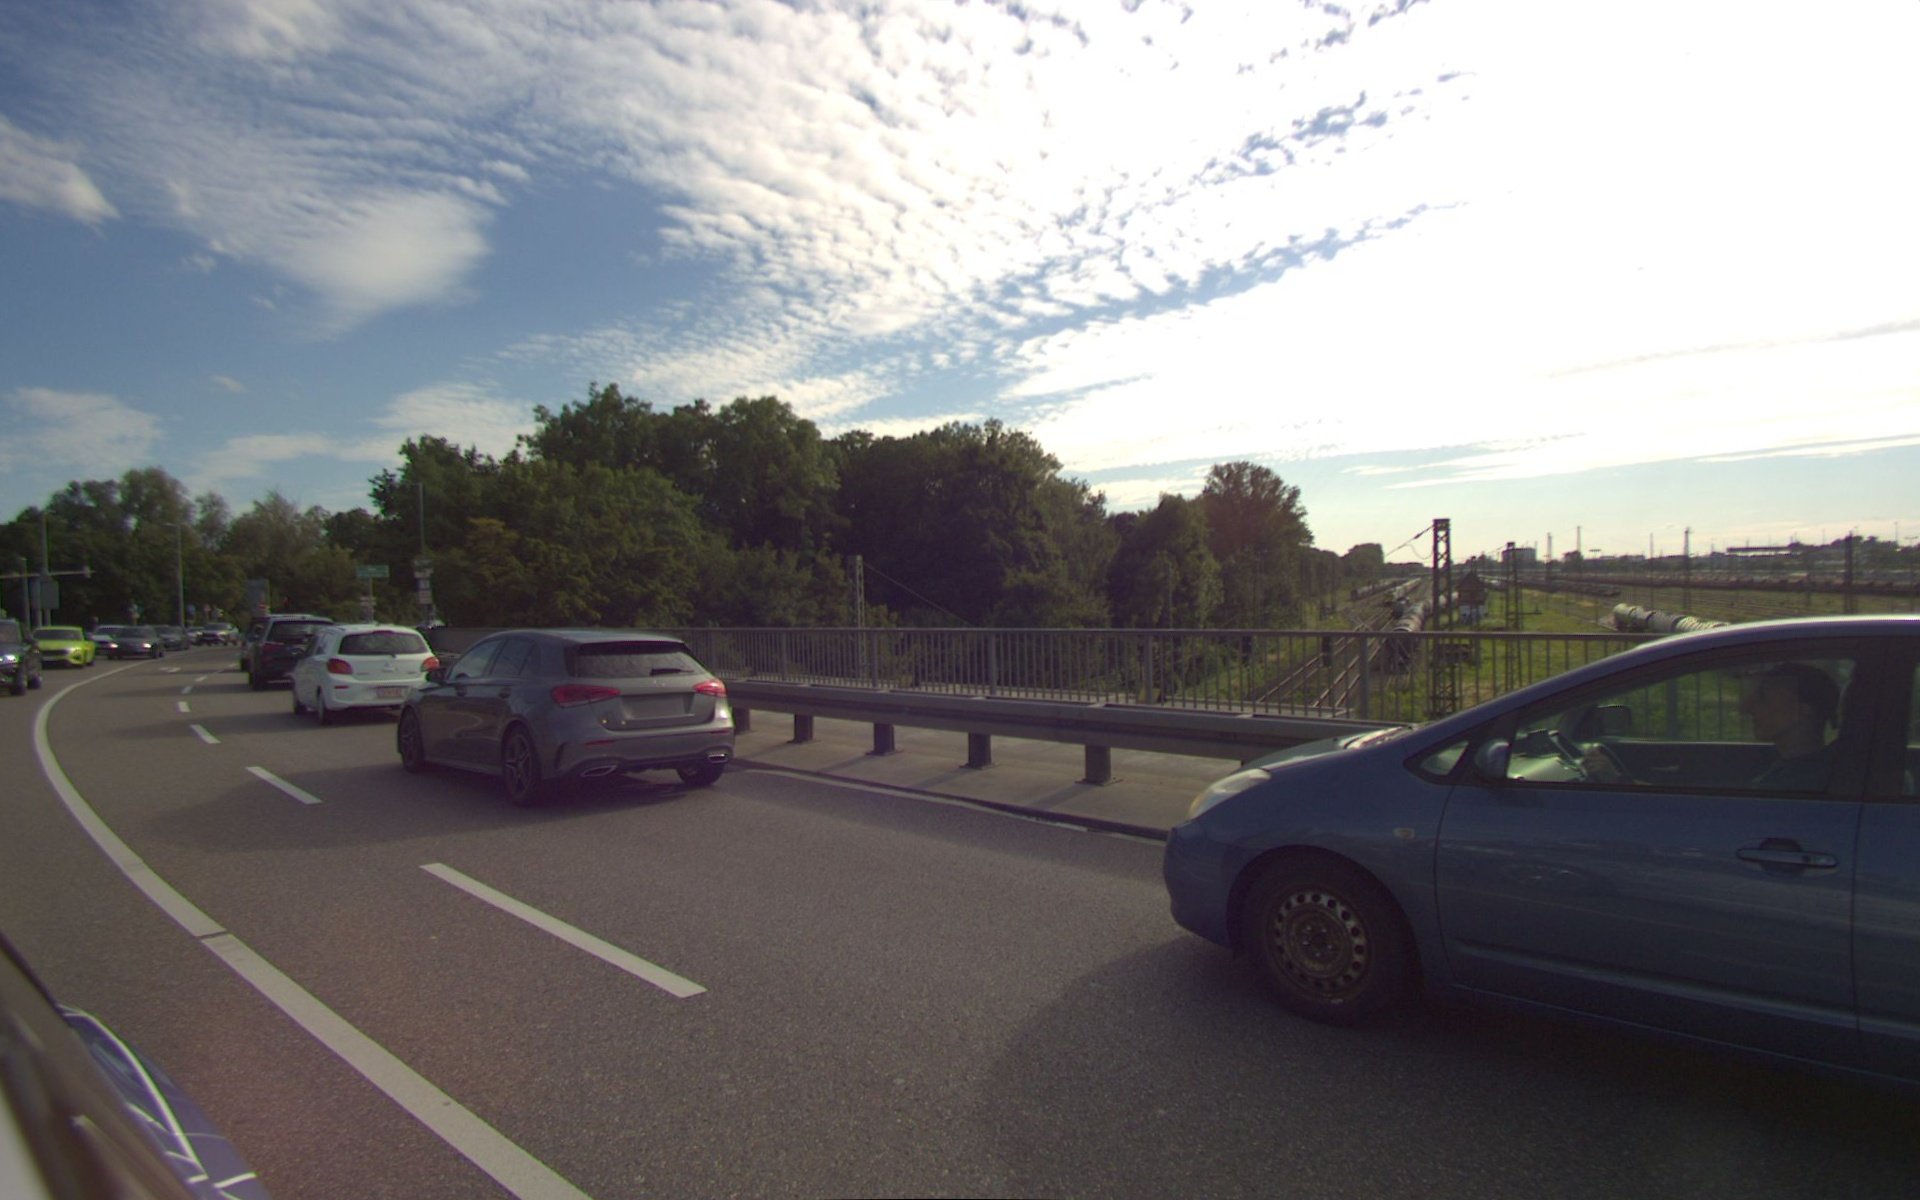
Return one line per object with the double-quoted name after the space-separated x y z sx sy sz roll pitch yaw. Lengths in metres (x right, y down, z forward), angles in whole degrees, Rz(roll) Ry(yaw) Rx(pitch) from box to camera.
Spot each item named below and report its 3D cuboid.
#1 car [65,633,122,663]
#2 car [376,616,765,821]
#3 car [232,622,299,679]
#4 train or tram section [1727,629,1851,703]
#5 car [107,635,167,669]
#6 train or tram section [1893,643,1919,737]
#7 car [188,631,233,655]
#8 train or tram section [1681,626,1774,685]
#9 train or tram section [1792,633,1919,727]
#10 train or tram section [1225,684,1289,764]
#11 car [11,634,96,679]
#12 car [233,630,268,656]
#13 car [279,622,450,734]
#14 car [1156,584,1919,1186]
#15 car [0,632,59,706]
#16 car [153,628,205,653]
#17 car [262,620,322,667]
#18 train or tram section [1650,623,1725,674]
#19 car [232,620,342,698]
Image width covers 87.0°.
-42.537 2.325 49.730 1.664 1.333 3.794 0 -1 -34 "car"
-3.807 0.916 9.453 4.327 1.468 1.792 -2 -2 45 "car"
-23.115 1.642 33.687 1.750 1.759 3.847 0 -2 -35 "car"
62.528 4.714 76.932 3.079 4.748 16.608 -1 -1 25 "train or tram section"
-36.104 2.251 44.464 1.663 1.333 3.795 0 -1 -33 "car"
48.718 4.618 46.820 3.079 4.748 16.608 -1 -1 25 "train or tram section"
-54.084 3.071 73.099 1.965 1.612 4.295 0 -1 -27 "car"
69.455 4.817 92.091 3.079 4.748 16.608 -1 -1 25 "train or tram section"
55.632 4.576 61.876 3.079 4.748 16.608 -1 -1 25 "train or tram section"
16.974 6.908 57.513 2.042 3.812 6.776 -1 -1 29 "train or tram section"
-31.322 1.913 35.078 1.790 1.415 4.401 0 -2 -37 "car"
-57.947 3.487 82.716 1.966 2.029 4.286 0 -1 -30 "car"
-9.637 1.160 16.256 1.662 1.557 3.928 1 -2 -41 "car"
2.986 0.720 3.174 4.390 1.501 1.741 -2 -2 42 "car"
-21.448 1.467 22.183 1.789 1.519 4.404 0 -2 -32 "car"
-44.954 2.332 58.343 1.663 1.333 3.797 0 -1 -26 "car"
-30.045 1.916 45.632 1.957 1.979 5.063 0 -2 -30 "car"
75.475 4.862 105.355 3.079 4.748 16.608 -1 -1 25 "train or tram section"
-16.223 1.345 24.288 1.845 1.679 4.639 1 -2 -38 "car"
